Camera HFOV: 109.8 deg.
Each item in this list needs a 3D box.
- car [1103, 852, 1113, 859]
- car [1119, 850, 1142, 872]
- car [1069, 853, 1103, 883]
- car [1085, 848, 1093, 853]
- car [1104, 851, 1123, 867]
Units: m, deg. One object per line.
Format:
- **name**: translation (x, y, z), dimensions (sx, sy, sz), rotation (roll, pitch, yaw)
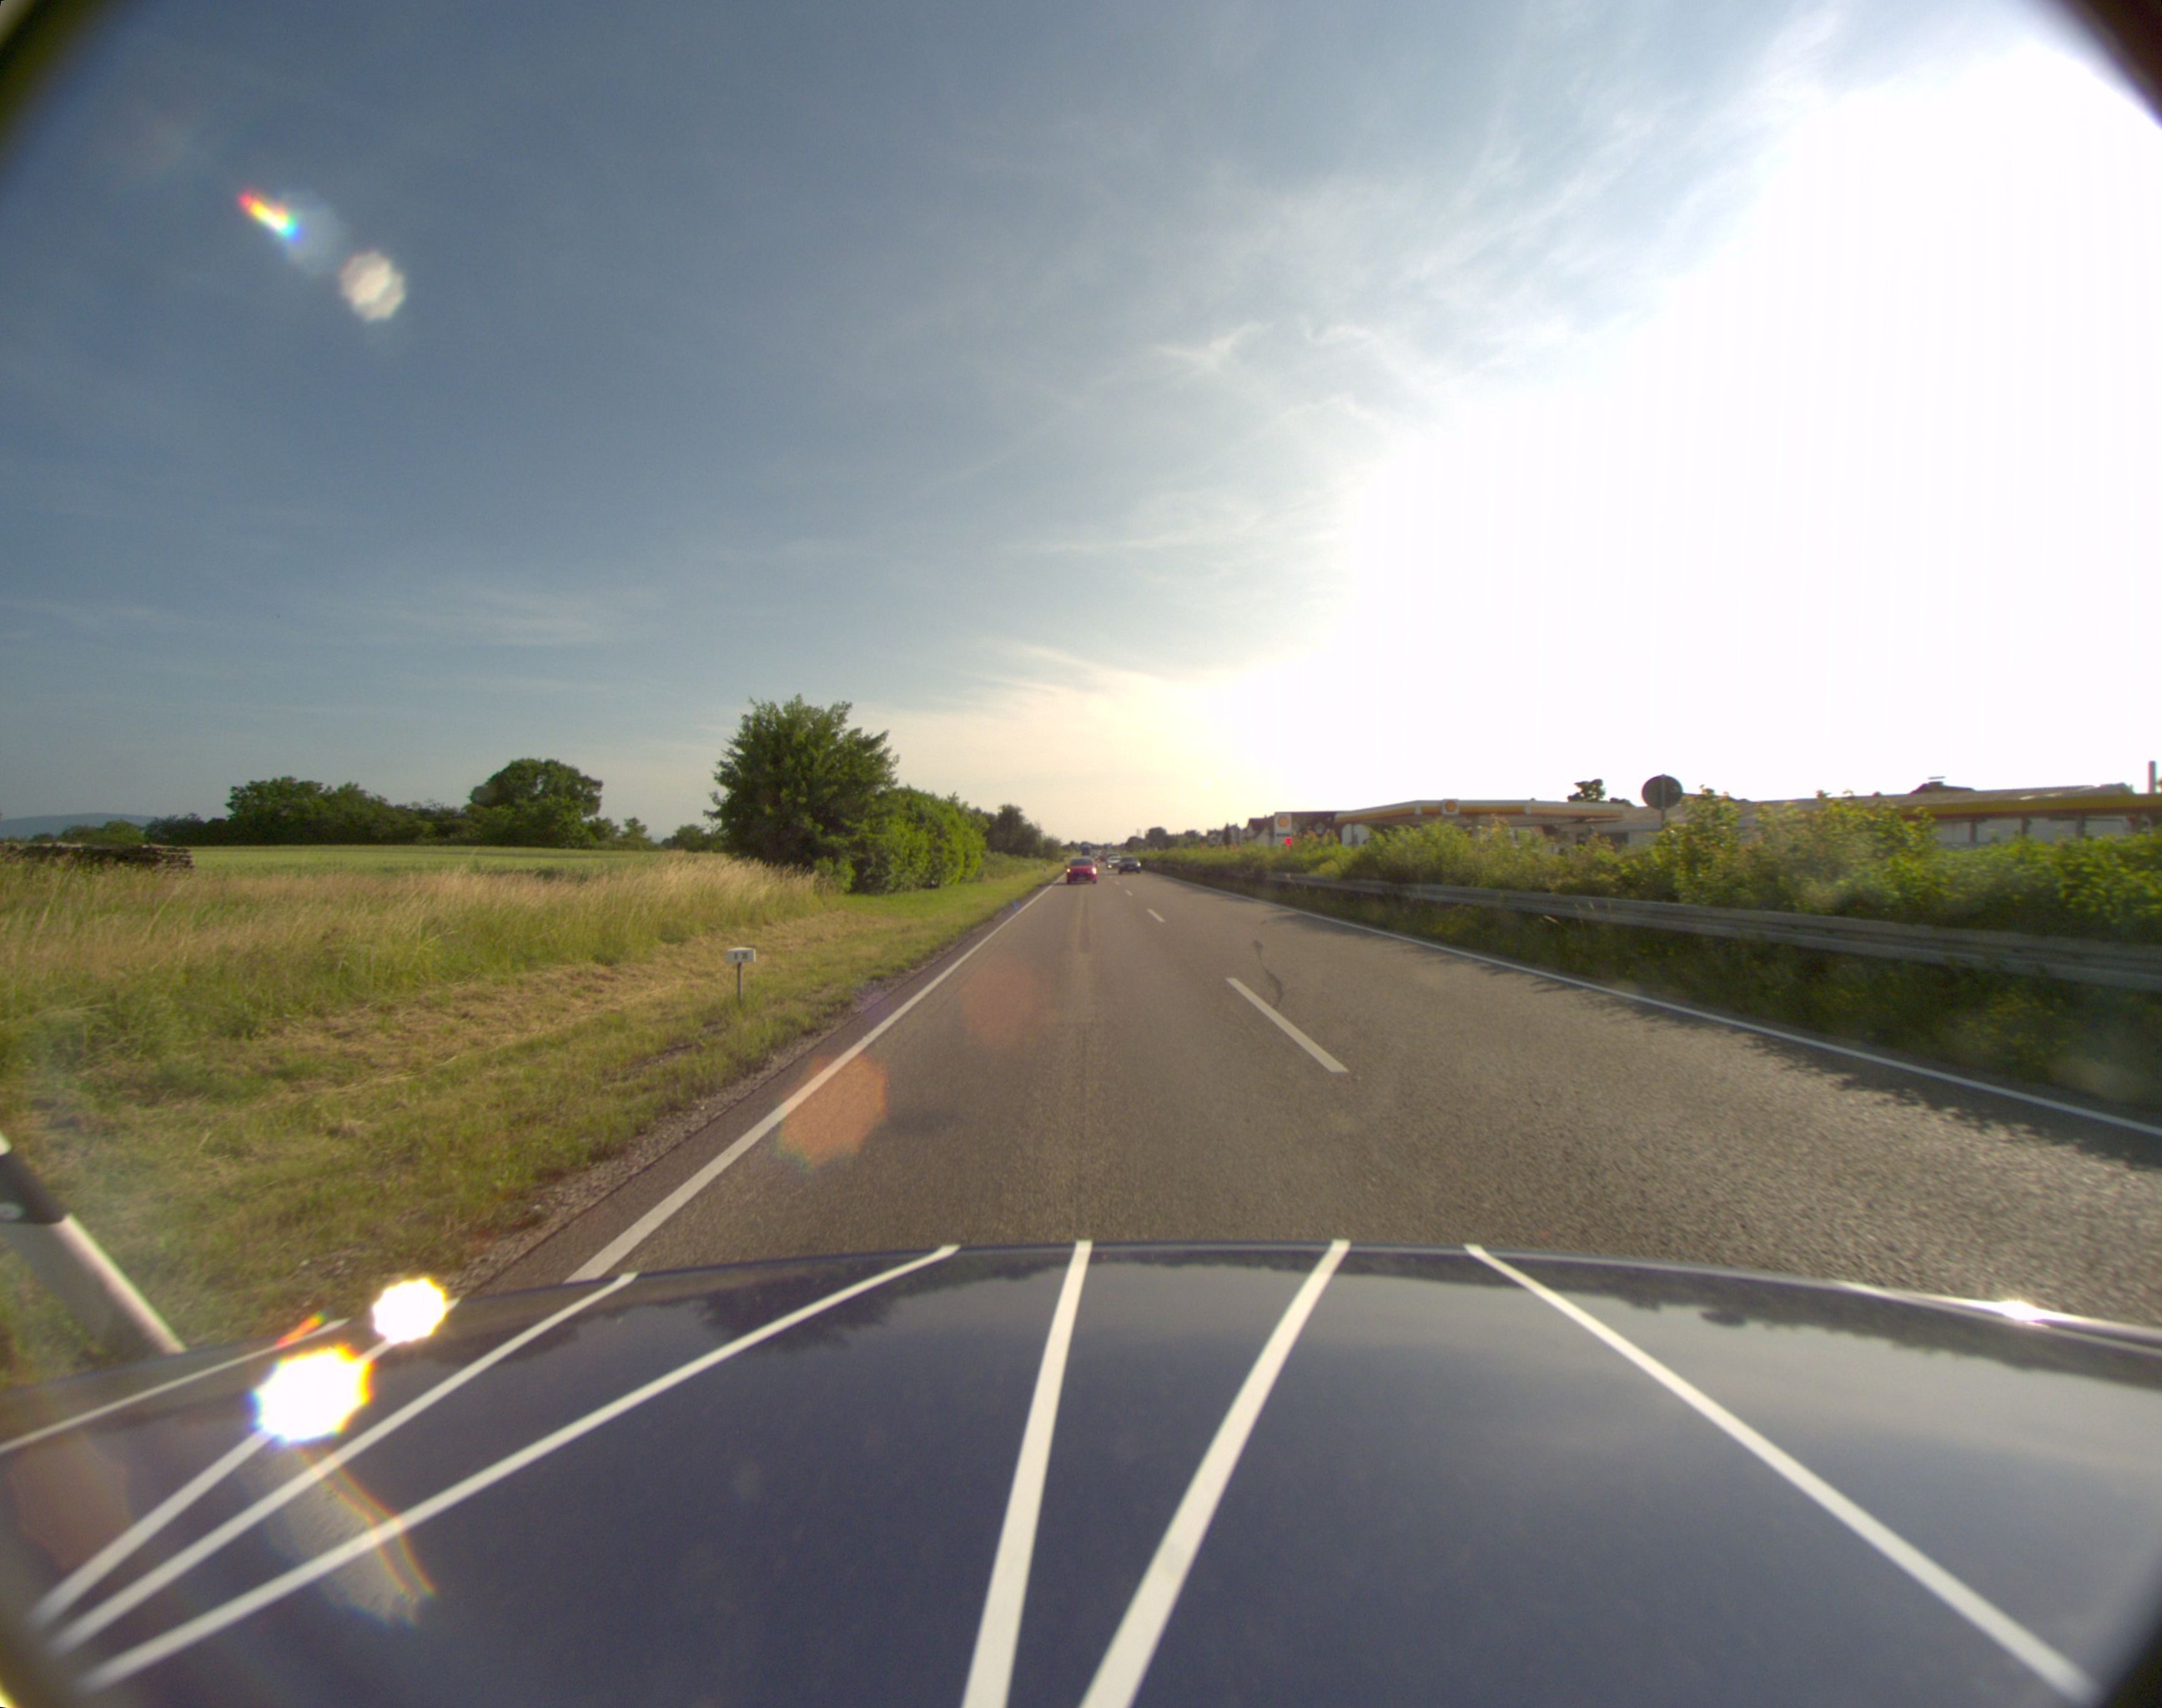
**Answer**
- **car**: translation (5.706, 0.278, 160.697), dimensions (1.998, 1.412, 4.000), rotation (-2, 1, 2)
- **car**: translation (4.052, 0.580, 62.927), dimensions (1.693, 1.695, 4.000), rotation (-2, 1, 1)
- **car**: translation (0.341, 0.781, 43.886), dimensions (1.821, 1.565, 4.000), rotation (-2, 1, 2)
- **car**: translation (2.296, -1.074, 215.063), dimensions (1.998, 1.412, 4.000), rotation (-2, 1, 2)
- **car**: translation (3.704, 0.538, 86.927), dimensions (1.998, 1.762, 4.000), rotation (-2, 1, 2)
